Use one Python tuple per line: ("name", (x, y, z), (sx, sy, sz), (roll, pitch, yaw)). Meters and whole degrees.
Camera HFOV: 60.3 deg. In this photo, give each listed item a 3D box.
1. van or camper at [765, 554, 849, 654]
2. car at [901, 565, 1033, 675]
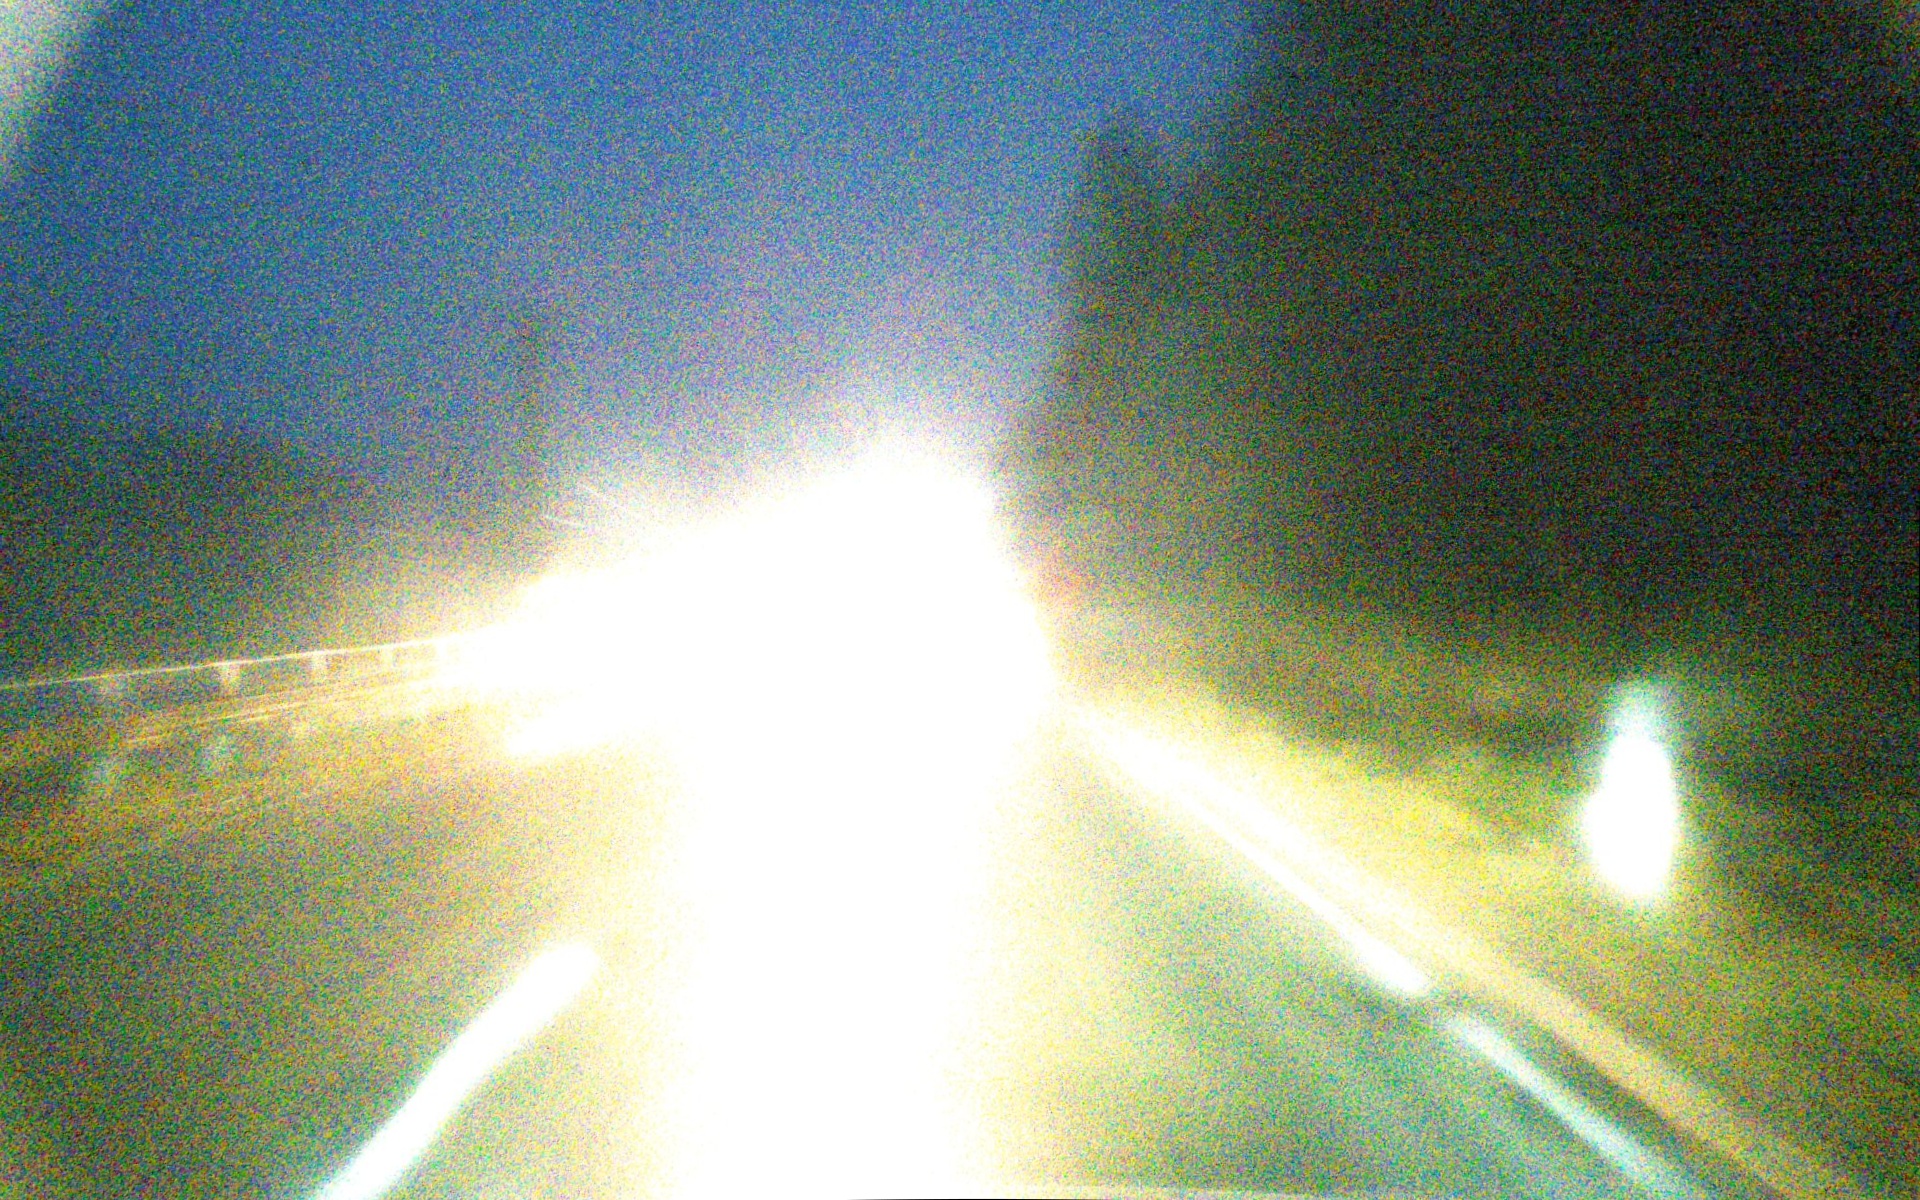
("van or camper", (-4.365, 0.086, 47.877), (2.081, 2.610, 5.780), (-3, 0, -3))
("car", (0.118, 0.379, 32.770), (2.407, 1.993, 4.911), (0, 0, 0))
